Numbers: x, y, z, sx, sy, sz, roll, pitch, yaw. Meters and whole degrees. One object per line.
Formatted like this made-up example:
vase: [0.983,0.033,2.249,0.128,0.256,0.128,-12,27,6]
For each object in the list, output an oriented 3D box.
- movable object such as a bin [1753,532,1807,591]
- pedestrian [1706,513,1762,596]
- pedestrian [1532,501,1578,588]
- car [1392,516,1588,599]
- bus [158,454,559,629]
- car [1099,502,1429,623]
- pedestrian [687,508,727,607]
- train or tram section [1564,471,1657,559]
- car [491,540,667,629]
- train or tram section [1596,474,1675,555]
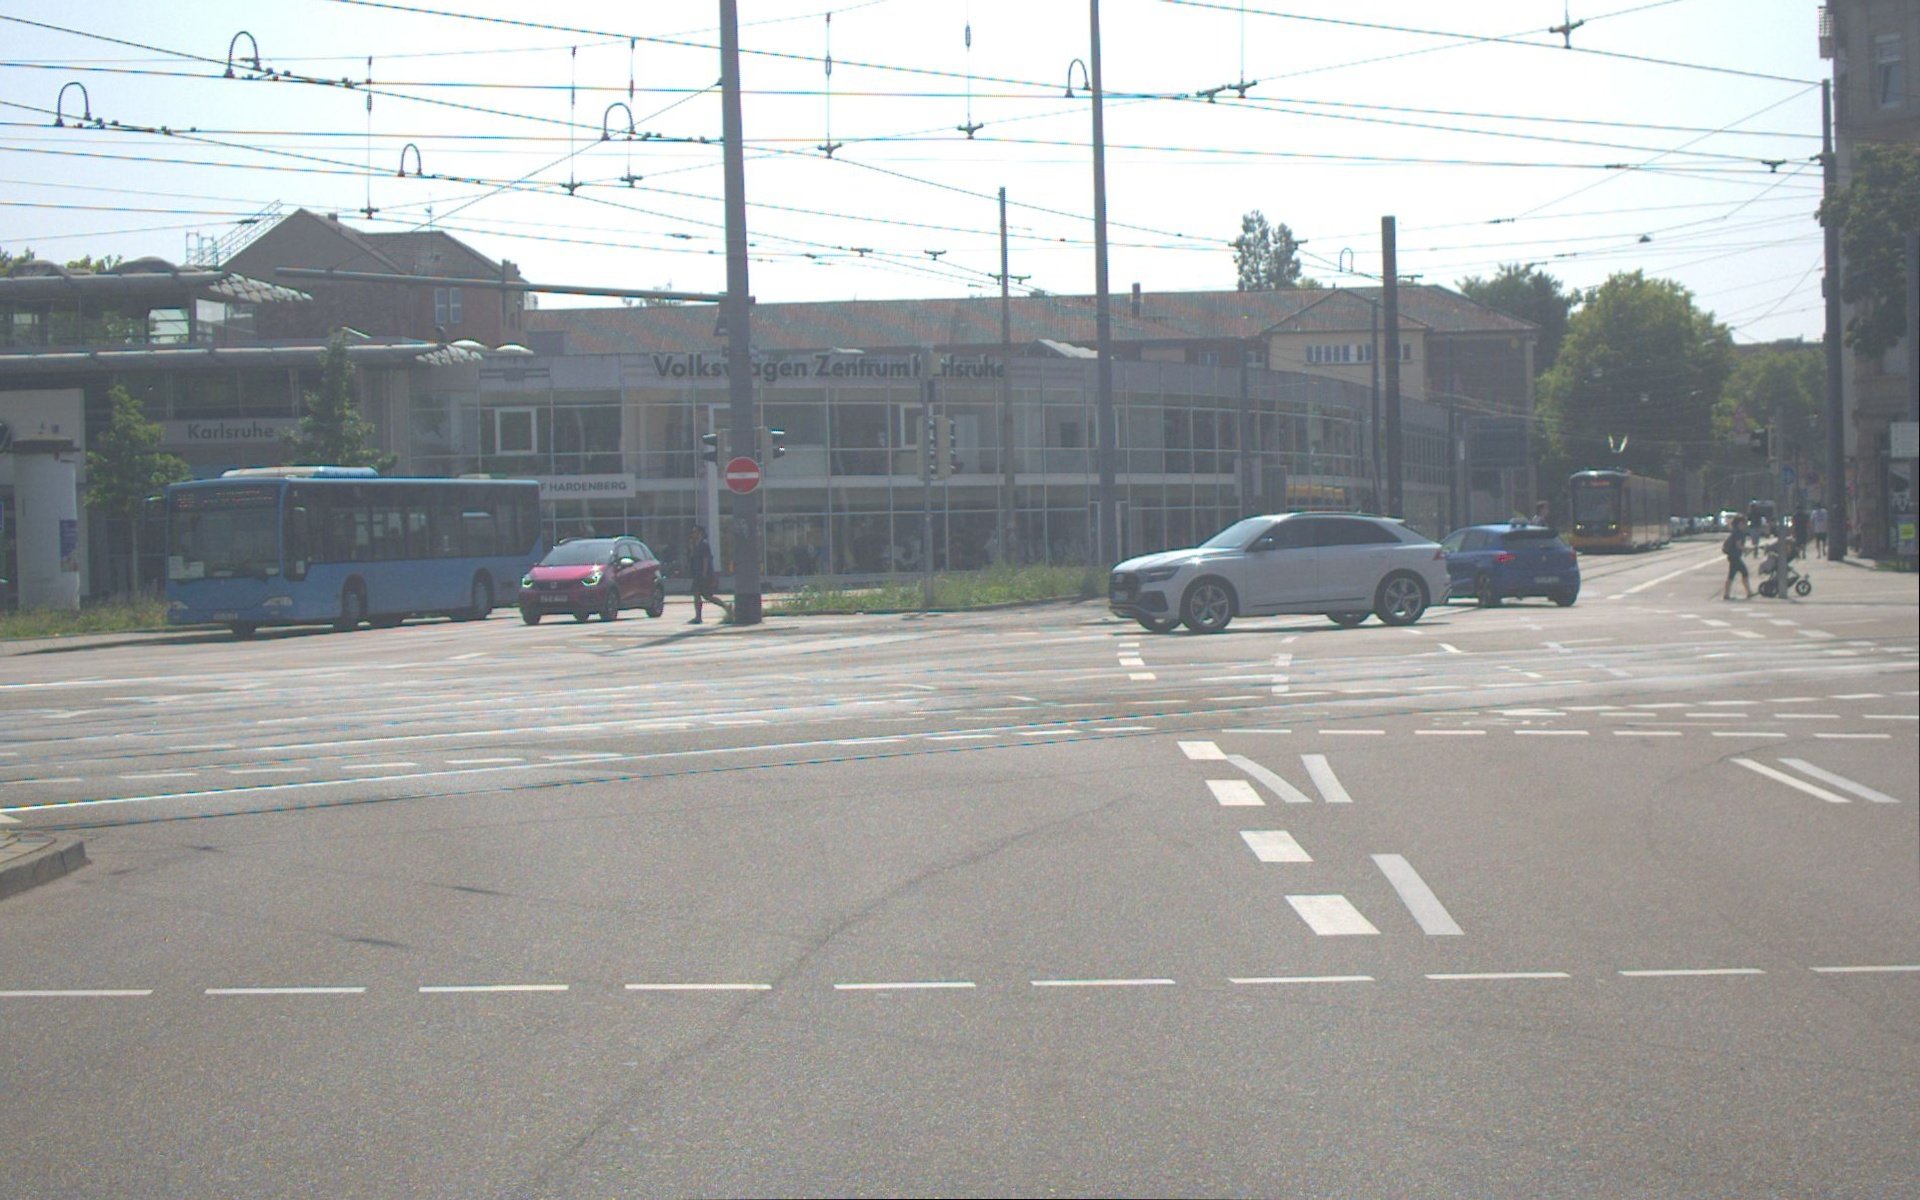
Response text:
movable object such as a bin: [15.323,-0.717,64.254,0.812,1.073,0.512,-1,1,-11]
pedestrian: [14.473,-0.849,64.303,0.850,1.539,0.529,-1,1,-8]
pedestrian: [11.166,-1.045,64.539,0.699,1.597,0.573,-1,1,-8]
car: [9.354,-0.753,60.951,1.590,1.389,4.001,-2,1,-22]
bus: [-11.452,-1.175,67.244,2.564,3.072,12.014,-1,1,17]
car: [4.341,-0.548,49.115,4.320,1.612,1.755,-2,1,-19]
pedestrian: [-4.351,-0.728,59.072,0.552,1.678,0.454,-1,1,-19]
train or tram section: [27.539,-3.588,145.251,2.590,3.504,10.890,-1,1,17]
car: [-7.057,-0.305,64.039,1.751,1.546,3.997,-1,1,18]
train or tram section: [30.525,-3.860,155.093,2.590,3.504,9.651,-1,1,16]
